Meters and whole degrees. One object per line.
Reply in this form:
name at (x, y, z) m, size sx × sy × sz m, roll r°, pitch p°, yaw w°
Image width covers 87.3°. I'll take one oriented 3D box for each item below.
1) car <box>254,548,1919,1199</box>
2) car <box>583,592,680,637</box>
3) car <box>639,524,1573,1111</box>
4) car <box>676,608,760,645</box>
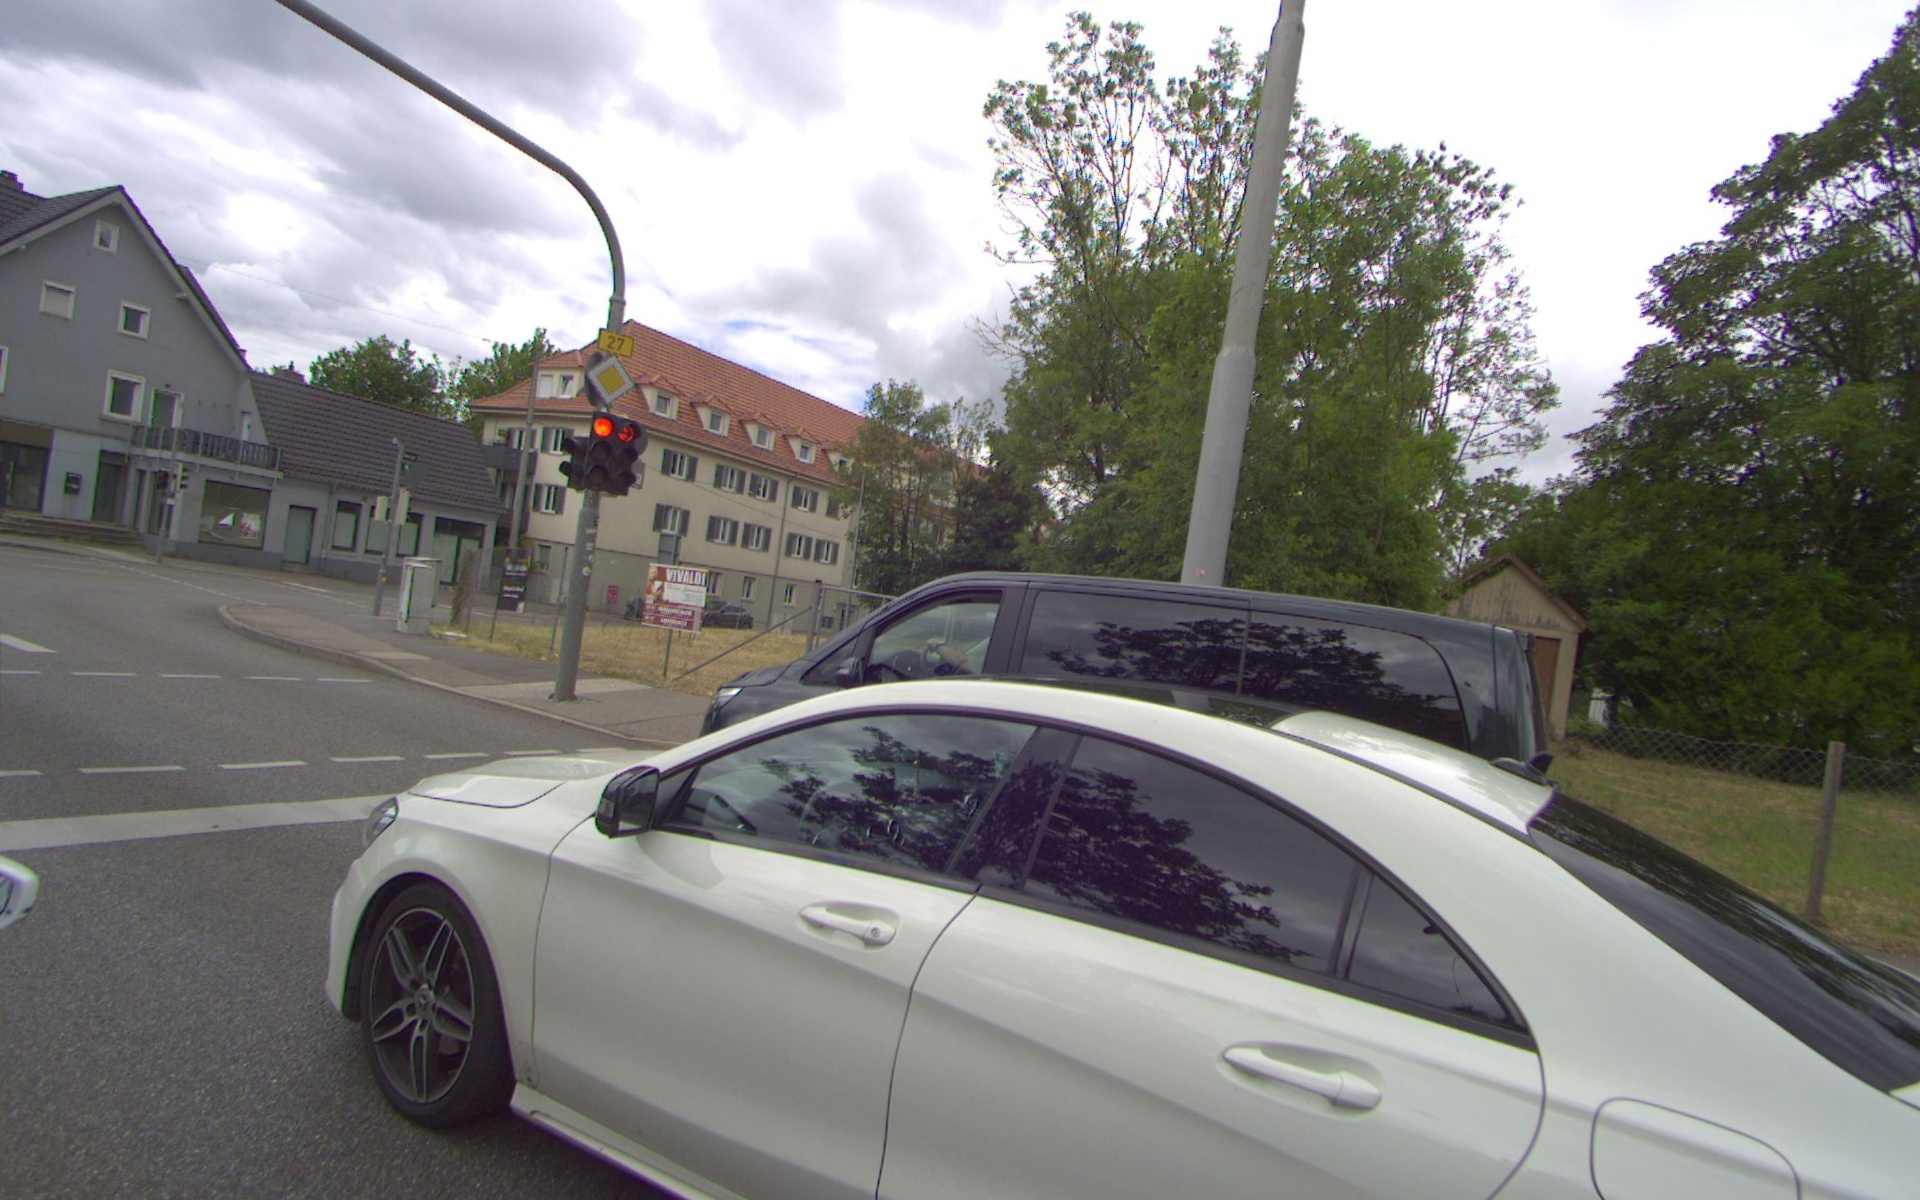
car at (0.154, 0.840, 2.645) m, size 4.305 × 1.451 × 1.651 m, roll 7°, pitch 0°, yaw 32°
car at (-15.523, 0.733, 47.666) m, size 1.839 × 1.554 × 3.996 m, roll 7°, pitch -2°, yaw 32°
car at (0.640, 0.800, 5.692) m, size 4.631 × 1.860 × 1.953 m, roll 7°, pitch -2°, yaw 32°
car at (-12.628, 1.396, 52.654) m, size 1.839 × 1.393 × 3.996 m, roll 7°, pitch -2°, yaw 32°
